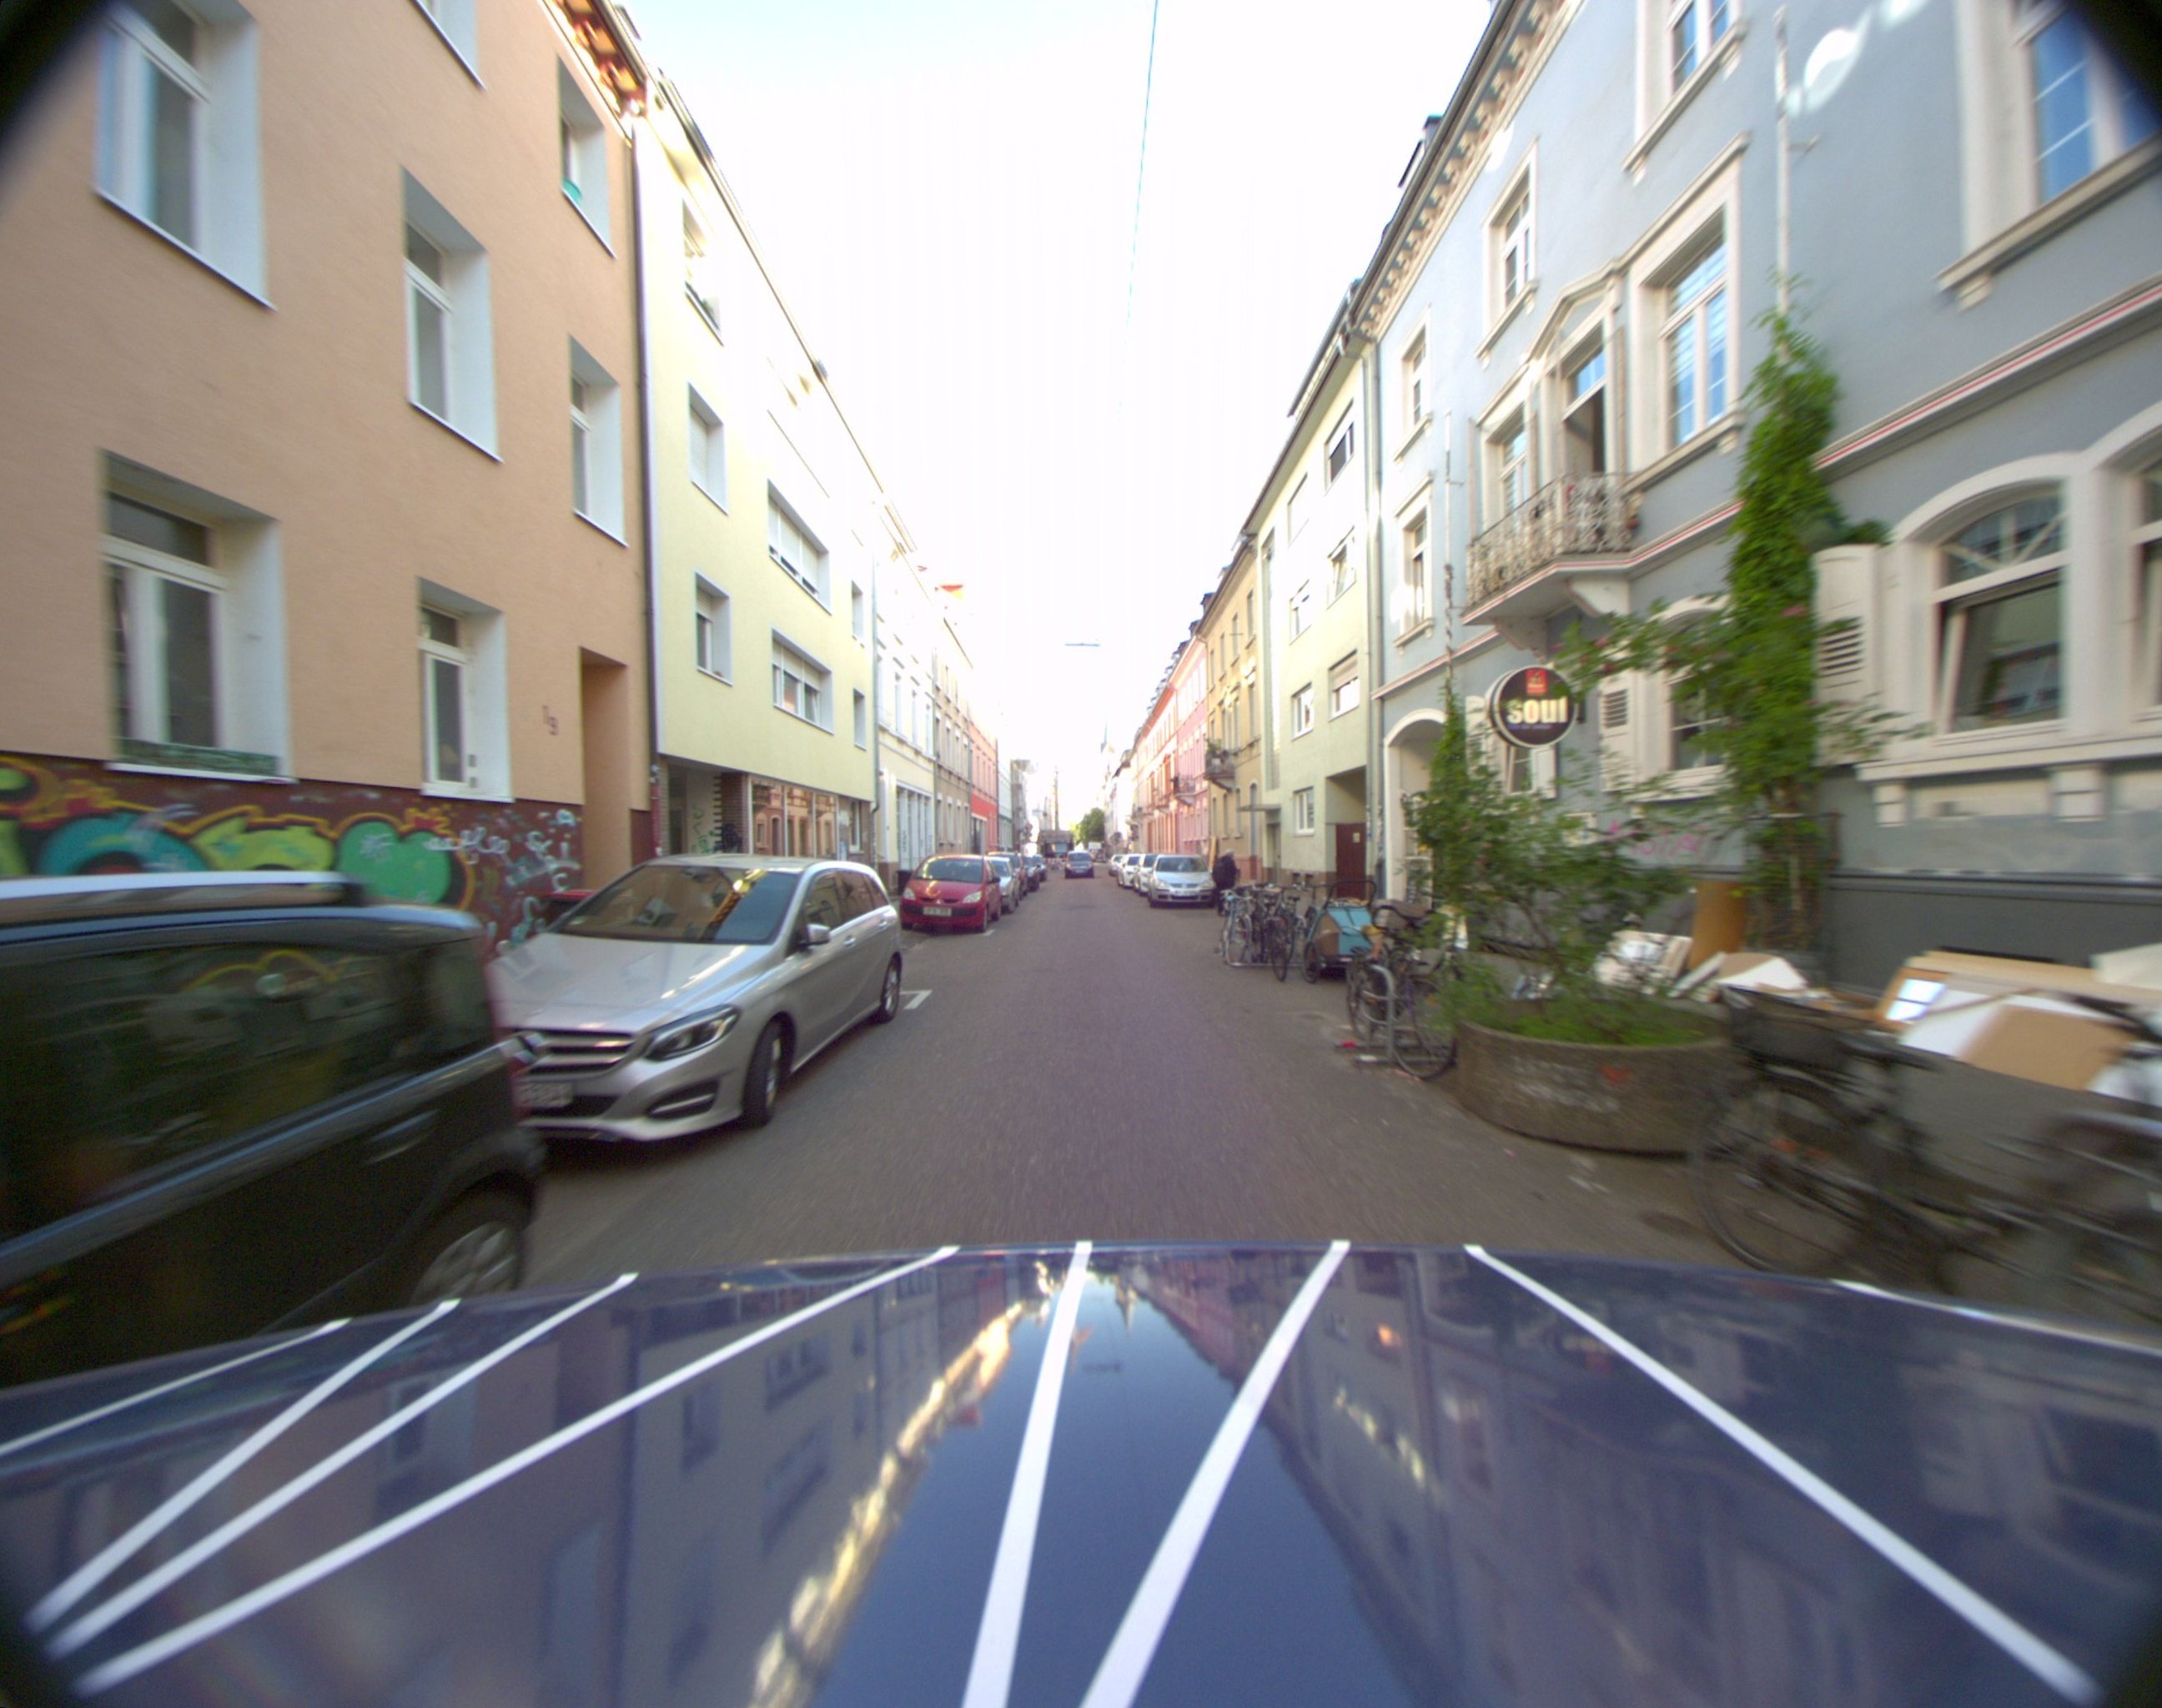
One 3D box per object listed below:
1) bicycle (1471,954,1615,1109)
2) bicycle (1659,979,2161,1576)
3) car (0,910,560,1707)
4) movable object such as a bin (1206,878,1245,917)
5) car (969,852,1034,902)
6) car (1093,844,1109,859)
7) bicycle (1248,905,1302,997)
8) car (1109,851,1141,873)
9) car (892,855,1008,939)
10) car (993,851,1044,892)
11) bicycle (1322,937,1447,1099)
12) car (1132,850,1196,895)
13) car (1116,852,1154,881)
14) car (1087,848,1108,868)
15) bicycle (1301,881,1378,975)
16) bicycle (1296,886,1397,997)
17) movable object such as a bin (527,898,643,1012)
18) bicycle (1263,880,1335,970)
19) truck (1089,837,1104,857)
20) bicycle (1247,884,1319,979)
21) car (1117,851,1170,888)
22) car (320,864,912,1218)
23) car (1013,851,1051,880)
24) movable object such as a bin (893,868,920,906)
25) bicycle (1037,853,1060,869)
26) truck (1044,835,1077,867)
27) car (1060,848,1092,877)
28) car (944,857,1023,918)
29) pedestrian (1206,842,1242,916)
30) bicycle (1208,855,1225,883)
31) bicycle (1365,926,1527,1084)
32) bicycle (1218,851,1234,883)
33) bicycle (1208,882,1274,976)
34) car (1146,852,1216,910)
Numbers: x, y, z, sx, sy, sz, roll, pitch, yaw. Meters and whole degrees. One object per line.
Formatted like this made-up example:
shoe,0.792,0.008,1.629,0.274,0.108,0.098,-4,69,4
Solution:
bicycle,3.305,1.226,5.534,0.256,0.813,1.299,-1,1,1
bicycle,2.651,1.063,2.103,0.547,1.088,1.881,-3,1,-4
car,-2.598,0.993,0.849,1.606,1.530,3.450,2,1,1
movable object such as a bin,3.500,1.043,18.392,0.845,0.892,0.586,-2,1,15
car,-2.659,0.730,26.193,1.794,1.542,3.999,-1,1,0
car,2.731,-0.335,104.457,1.998,2.002,4.258,0,1,1
bicycle,2.268,1.108,8.979,0.322,0.911,1.290,-1,1,1
car,2.798,0.492,49.396,1.771,1.335,4.379,0,1,-1
car,-2.617,0.799,16.098,1.701,1.514,3.980,0,1,1
car,-2.535,0.690,31.717,1.766,1.513,4.379,-2,1,0
bicycle,2.234,1.164,5.734,0.391,0.911,1.393,-1,1,1
car,2.871,0.602,27.078,1.794,1.443,3.999,-1,1,-1
car,2.724,0.604,39.023,1.731,1.383,4.302,0,1,2
car,1.346,0.323,62.727,1.644,1.528,3.842,-1,1,0
bicycle,3.525,0.972,10.494,0.444,1.099,1.697,-2,1,0
bicycle,3.077,0.992,8.885,0.815,1.168,0.920,-1,1,-2
movable object such as a bin,-5.085,1.017,7.828,0.694,1.052,0.736,2,1,0
bicycle,3.126,0.980,11.050,0.444,1.099,1.873,-2,1,-1
truck,2.688,-1.203,133.089,2.524,3.271,6.642,-1,1,1
bicycle,2.776,1.017,10.610,0.444,1.099,1.931,-2,1,0
car,2.561,0.609,32.087,1.792,1.454,4.199,0,1,-1
car,-2.638,0.911,5.643,1.750,1.547,4.171,-1,1,1
car,-2.649,0.596,41.950,1.831,1.474,4.463,0,1,-1
movable object such as a bin,-5.311,0.999,23.140,0.665,1.092,0.557,-2,1,1
bicycle,-2.570,0.549,60.585,1.713,1.130,0.470,-3,1,-11
truck,-1.828,-0.282,70.887,2.819,2.735,7.676,-3,1,-1
car,-0.278,0.493,45.627,1.832,1.651,4.212,0,1,0
car,-2.544,0.824,20.676,1.692,1.444,4.192,0,1,-1
pedestrian,3.374,0.580,17.868,0.714,1.698,0.672,-2,2,17
bicycle,5.495,0.589,30.866,0.418,1.095,1.494,-2,1,0
bicycle,2.842,1.128,6.085,0.555,0.938,1.571,-1,1,1
bicycle,5.881,0.500,30.923,0.319,1.253,1.494,-2,1,0
bicycle,2.186,0.991,10.574,0.500,1.099,1.829,-2,1,0
car,2.743,0.696,21.582,1.684,1.446,4.034,0,1,3
